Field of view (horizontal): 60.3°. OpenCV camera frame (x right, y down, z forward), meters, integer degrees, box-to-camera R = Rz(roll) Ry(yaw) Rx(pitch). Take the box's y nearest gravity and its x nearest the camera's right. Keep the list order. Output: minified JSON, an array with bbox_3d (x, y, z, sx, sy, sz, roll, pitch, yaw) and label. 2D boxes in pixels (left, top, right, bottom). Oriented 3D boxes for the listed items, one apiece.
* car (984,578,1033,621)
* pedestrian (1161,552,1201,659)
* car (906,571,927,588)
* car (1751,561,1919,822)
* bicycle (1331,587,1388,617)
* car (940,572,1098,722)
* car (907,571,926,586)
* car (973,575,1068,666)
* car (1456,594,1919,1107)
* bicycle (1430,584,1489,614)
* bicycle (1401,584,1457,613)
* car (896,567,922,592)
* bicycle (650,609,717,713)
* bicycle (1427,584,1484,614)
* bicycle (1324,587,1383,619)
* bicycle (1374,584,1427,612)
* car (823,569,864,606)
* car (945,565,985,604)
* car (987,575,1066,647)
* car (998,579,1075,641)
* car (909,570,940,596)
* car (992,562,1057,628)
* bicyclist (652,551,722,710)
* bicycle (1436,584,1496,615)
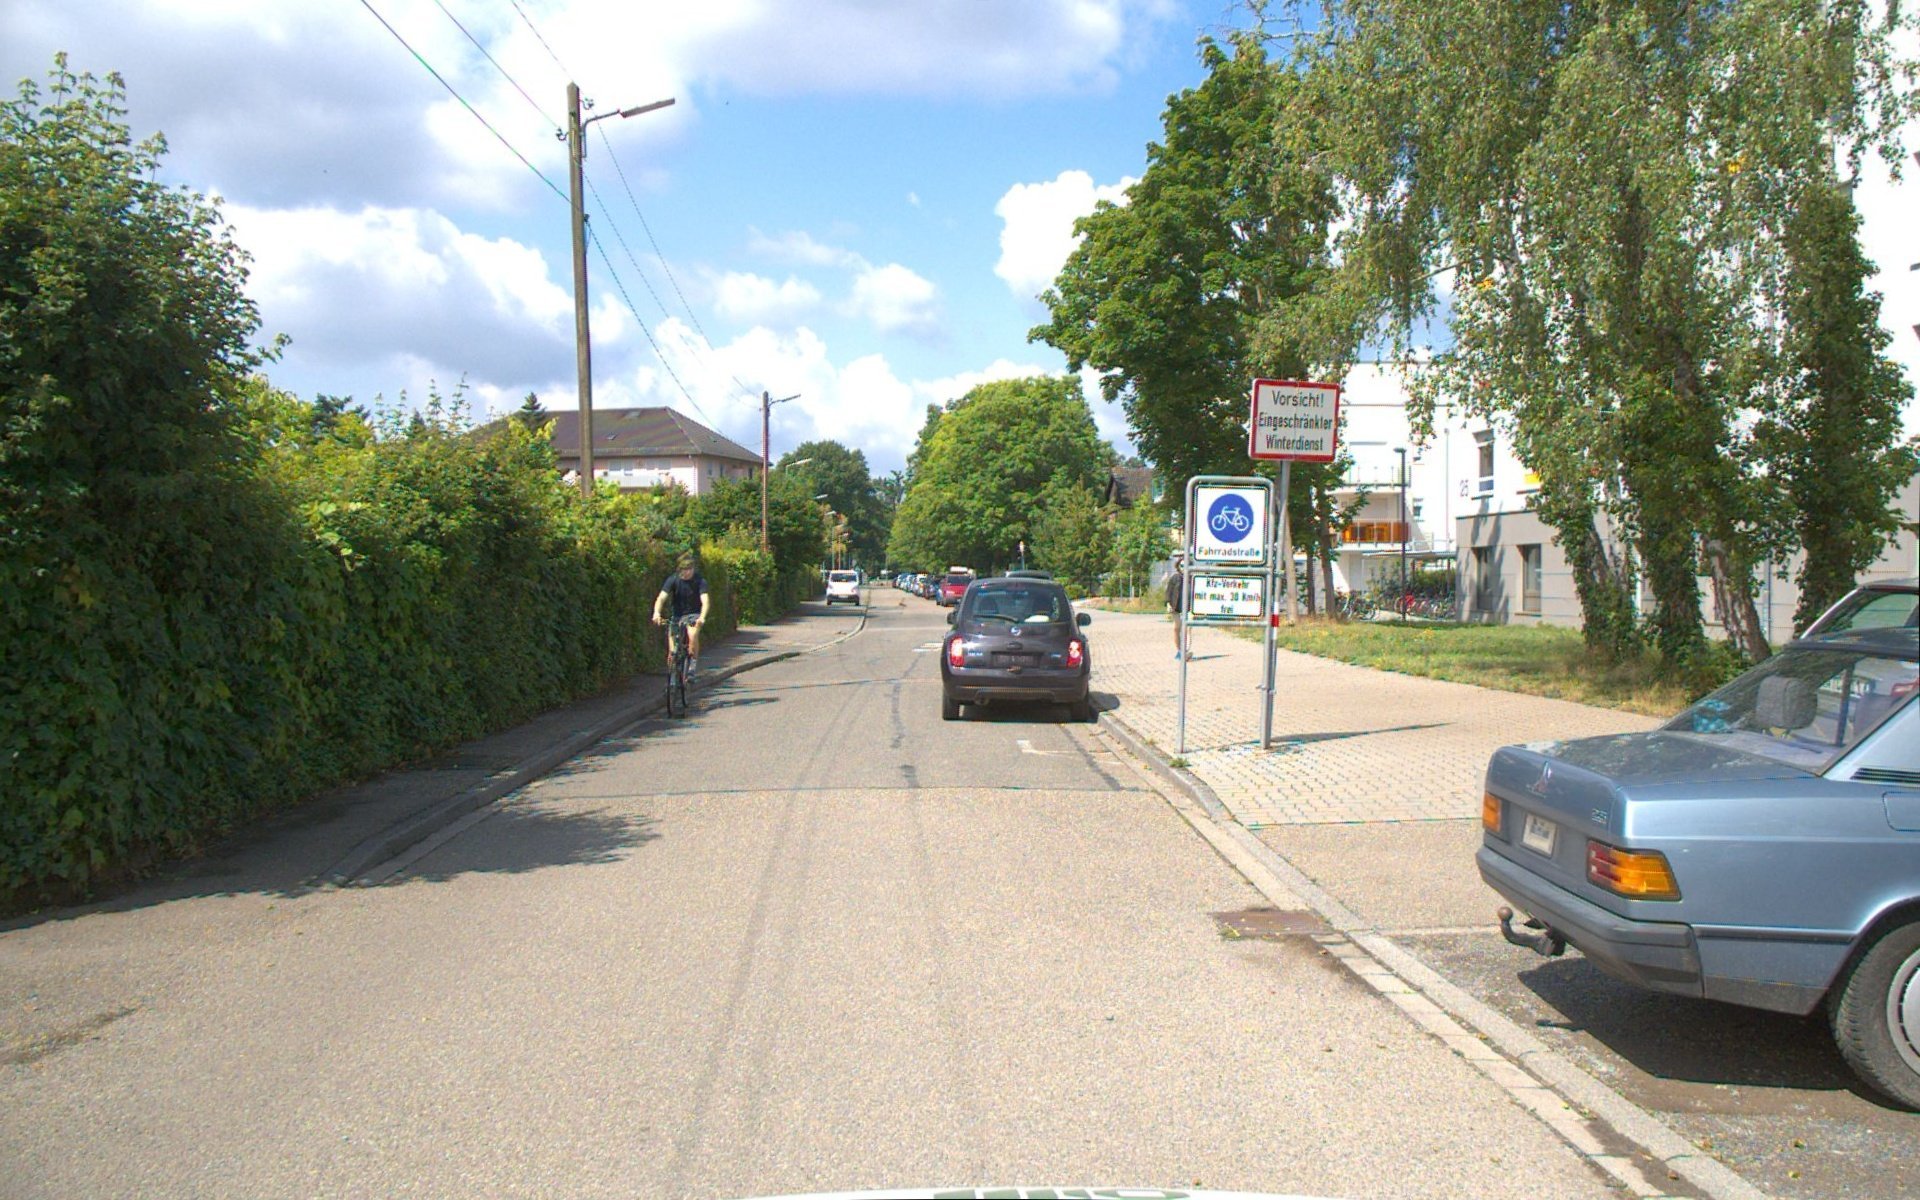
[{"bbox_3d":[1.797,-0.047,62.260,1.644,1.545,4.000,1,0,-1],"label":"car"},{"bbox_3d":[3.754,0.087,28.089,0.597,1.776,0.722,1,0,10],"label":"pedestrian"},{"bbox_3d":[-4.371,-2.080,166.674,1.813,1.646,4.001,0,1,1],"label":"car"},{"bbox_3d":[7.408,0.441,10.277,4.157,1.455,1.757,-2,1,-4],"label":"car"},{"bbox_3d":[15.424,0.074,63.819,2.005,1.098,0.688,-2,1,0],"label":"bicycle"},{"bbox_3d":[0.674,0.474,19.289,1.629,1.532,4.001,1,0,2],"label":"car"},{"bbox_3d":[-4.793,-2.362,181.778,1.813,1.646,4.001,1,0,1],"label":"car"},{"bbox_3d":[1.183,0.343,30.922,1.628,1.579,3.639,1,0,4],"label":"car"},{"bbox_3d":[4.047,0.689,5.521,4.269,1.416,1.718,-1,0,1],"label":"car"},{"bbox_3d":[18.971,-0.037,62.825,2.005,1.098,0.688,-2,1,0],"label":"bicycle"},{"bbox_3d":[18.712,-0.065,66.018,2.005,1.098,0.688,-2,1,0],"label":"bicycle"},{"bbox_3d":[-4.224,-1.708,137.081,2.016,1.996,4.540,1,0,-1],"label":"car"},{"bbox_3d":[-3.385,0.722,20.363,0.507,1.170,1.827,-1,1,-1],"label":"bicycle"},{"bbox_3d":[19.094,-0.042,63.752,2.005,1.098,0.688,-2,1,0],"label":"bicycle"},{"bbox_3d":[14.752,0.109,62.031,2.045,1.139,0.625,-2,1,1],"label":"bicycle"},{"bbox_3d":[18.303,-0.097,68.739,2.005,1.098,0.688,-2,1,0],"label":"bicycle"},{"bbox_3d":[-6.126,-0.672,87.264,1.864,1.845,4.000,1,0,-1],"label":"car"},{"bbox_3d":[0.234,-0.831,87.537,2.016,1.959,4.540,1,0,-1],"label":"car"},{"bbox_3d":[1.441,0.205,36.356,1.629,1.464,3.745,1,0,2],"label":"car"},{"bbox_3d":[1.869,0.219,41.392,1.630,1.460,3.540,1,0,-2],"label":"car"},{"bbox_3d":[-2.358,-1.159,112.056,2.016,1.681,4.540,1,0,-1],"label":"car"},{"bbox_3d":[1.883,-0.166,48.723,1.835,1.837,3.433,1,0,2],"label":"car"},{"bbox_3d":[-3.346,0.359,20.318,0.645,1.884,1.043,-1,1,-1],"label":"bicyclist"},{"bbox_3d":[19.013,-0.014,62.150,2.005,1.098,0.688,-2,1,0],"label":"bicycle"}]
